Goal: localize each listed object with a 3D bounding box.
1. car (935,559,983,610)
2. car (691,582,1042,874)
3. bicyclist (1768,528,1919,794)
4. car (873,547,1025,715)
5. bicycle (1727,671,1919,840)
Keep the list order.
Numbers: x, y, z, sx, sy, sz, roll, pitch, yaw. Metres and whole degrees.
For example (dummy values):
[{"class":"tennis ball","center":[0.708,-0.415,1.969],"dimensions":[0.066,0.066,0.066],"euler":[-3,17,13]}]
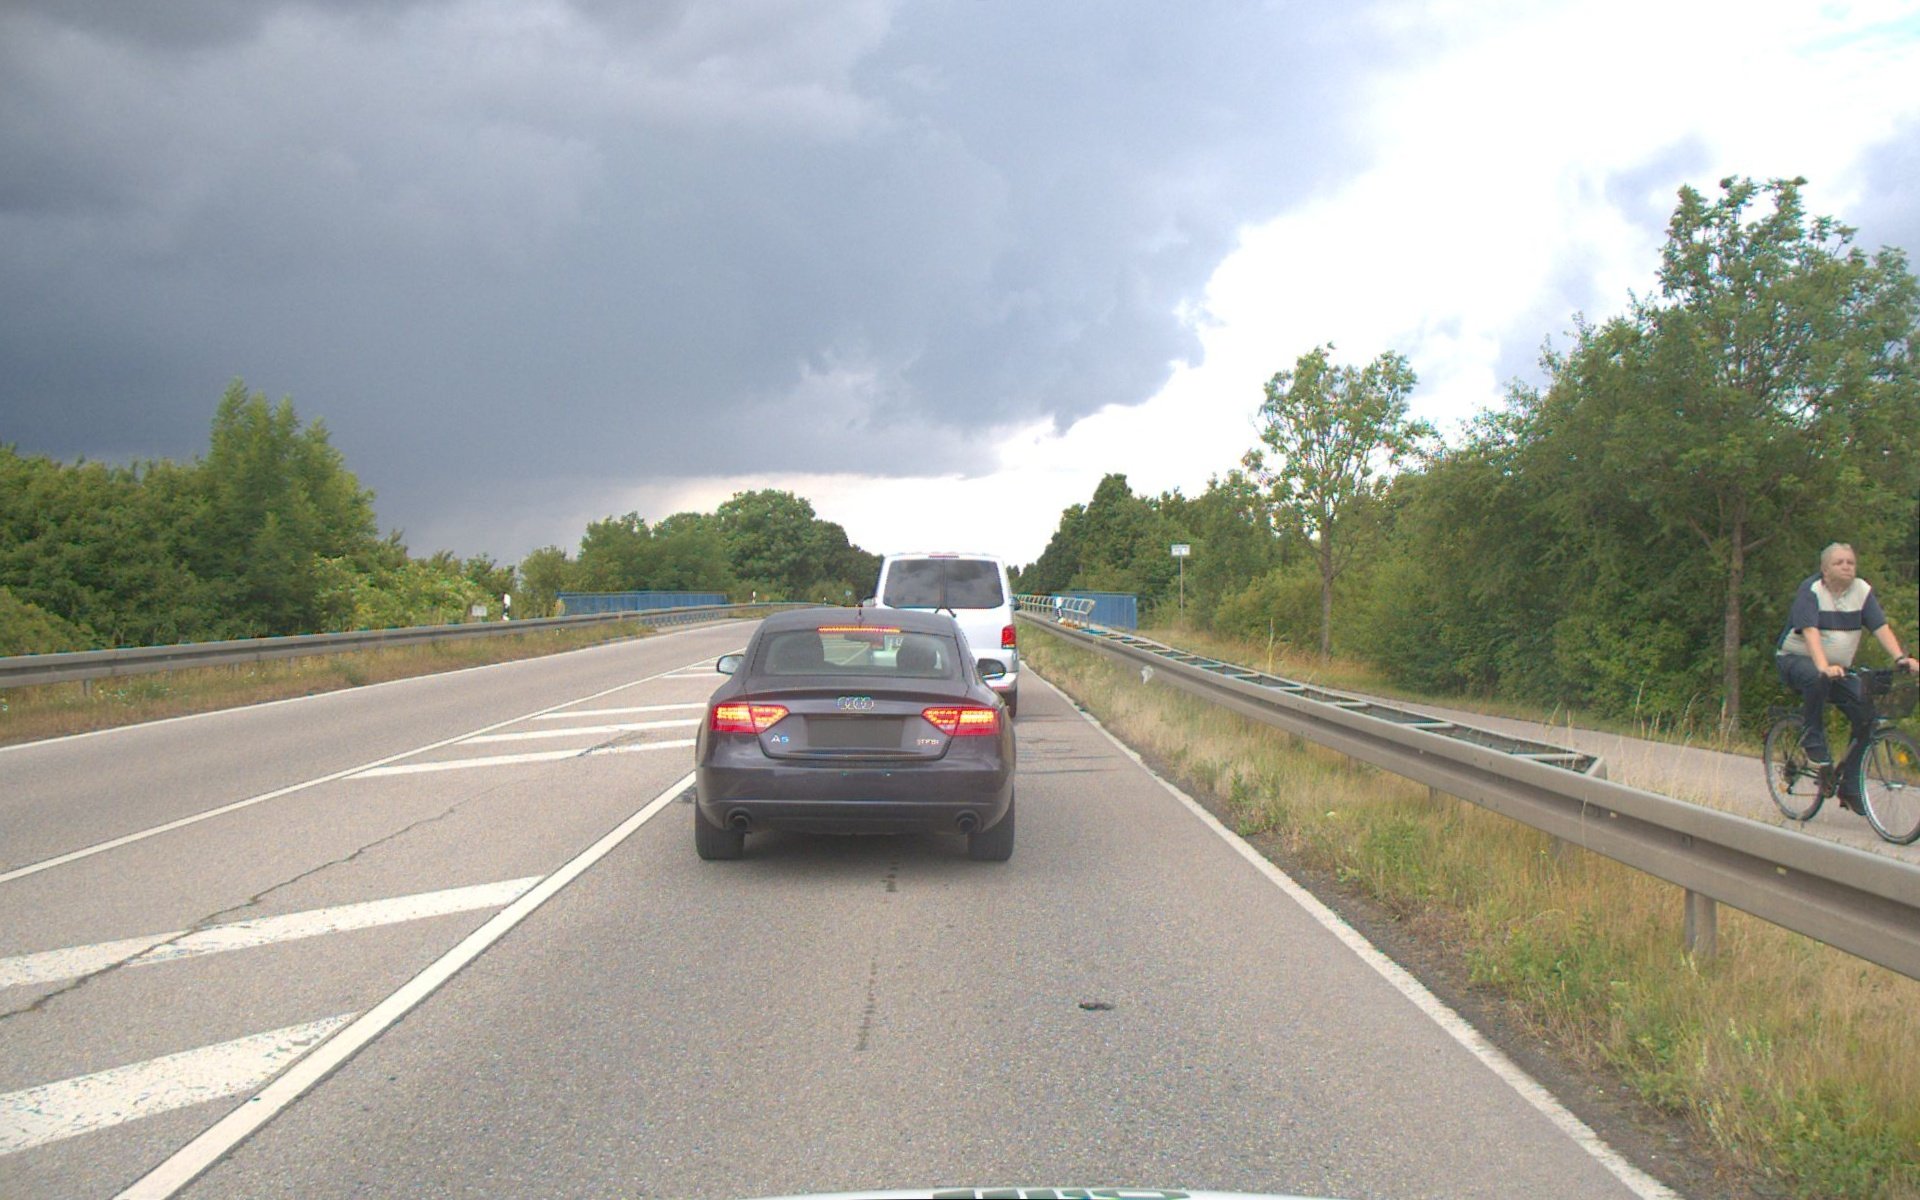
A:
[{"class":"car","center":[-0.050,-0.798,86.421],"dimensions":[2.397,2.548,5.041],"euler":[1,0,-1]},{"class":"car","center":[-0.499,0.655,10.320],"dimensions":[1.749,1.448,3.999],"euler":[1,0,-1]},{"class":"bicyclist","center":[5.842,0.384,10.858],"dimensions":[0.634,1.674,0.866],"euler":[0,0,-1]},{"class":"car","center":[-0.156,0.368,21.243],"dimensions":[1.749,1.923,3.999],"euler":[1,0,-1]},{"class":"bicycle","center":[5.838,0.982,10.939],"dimensions":[0.652,0.936,1.830],"euler":[0,0,-1]}]
